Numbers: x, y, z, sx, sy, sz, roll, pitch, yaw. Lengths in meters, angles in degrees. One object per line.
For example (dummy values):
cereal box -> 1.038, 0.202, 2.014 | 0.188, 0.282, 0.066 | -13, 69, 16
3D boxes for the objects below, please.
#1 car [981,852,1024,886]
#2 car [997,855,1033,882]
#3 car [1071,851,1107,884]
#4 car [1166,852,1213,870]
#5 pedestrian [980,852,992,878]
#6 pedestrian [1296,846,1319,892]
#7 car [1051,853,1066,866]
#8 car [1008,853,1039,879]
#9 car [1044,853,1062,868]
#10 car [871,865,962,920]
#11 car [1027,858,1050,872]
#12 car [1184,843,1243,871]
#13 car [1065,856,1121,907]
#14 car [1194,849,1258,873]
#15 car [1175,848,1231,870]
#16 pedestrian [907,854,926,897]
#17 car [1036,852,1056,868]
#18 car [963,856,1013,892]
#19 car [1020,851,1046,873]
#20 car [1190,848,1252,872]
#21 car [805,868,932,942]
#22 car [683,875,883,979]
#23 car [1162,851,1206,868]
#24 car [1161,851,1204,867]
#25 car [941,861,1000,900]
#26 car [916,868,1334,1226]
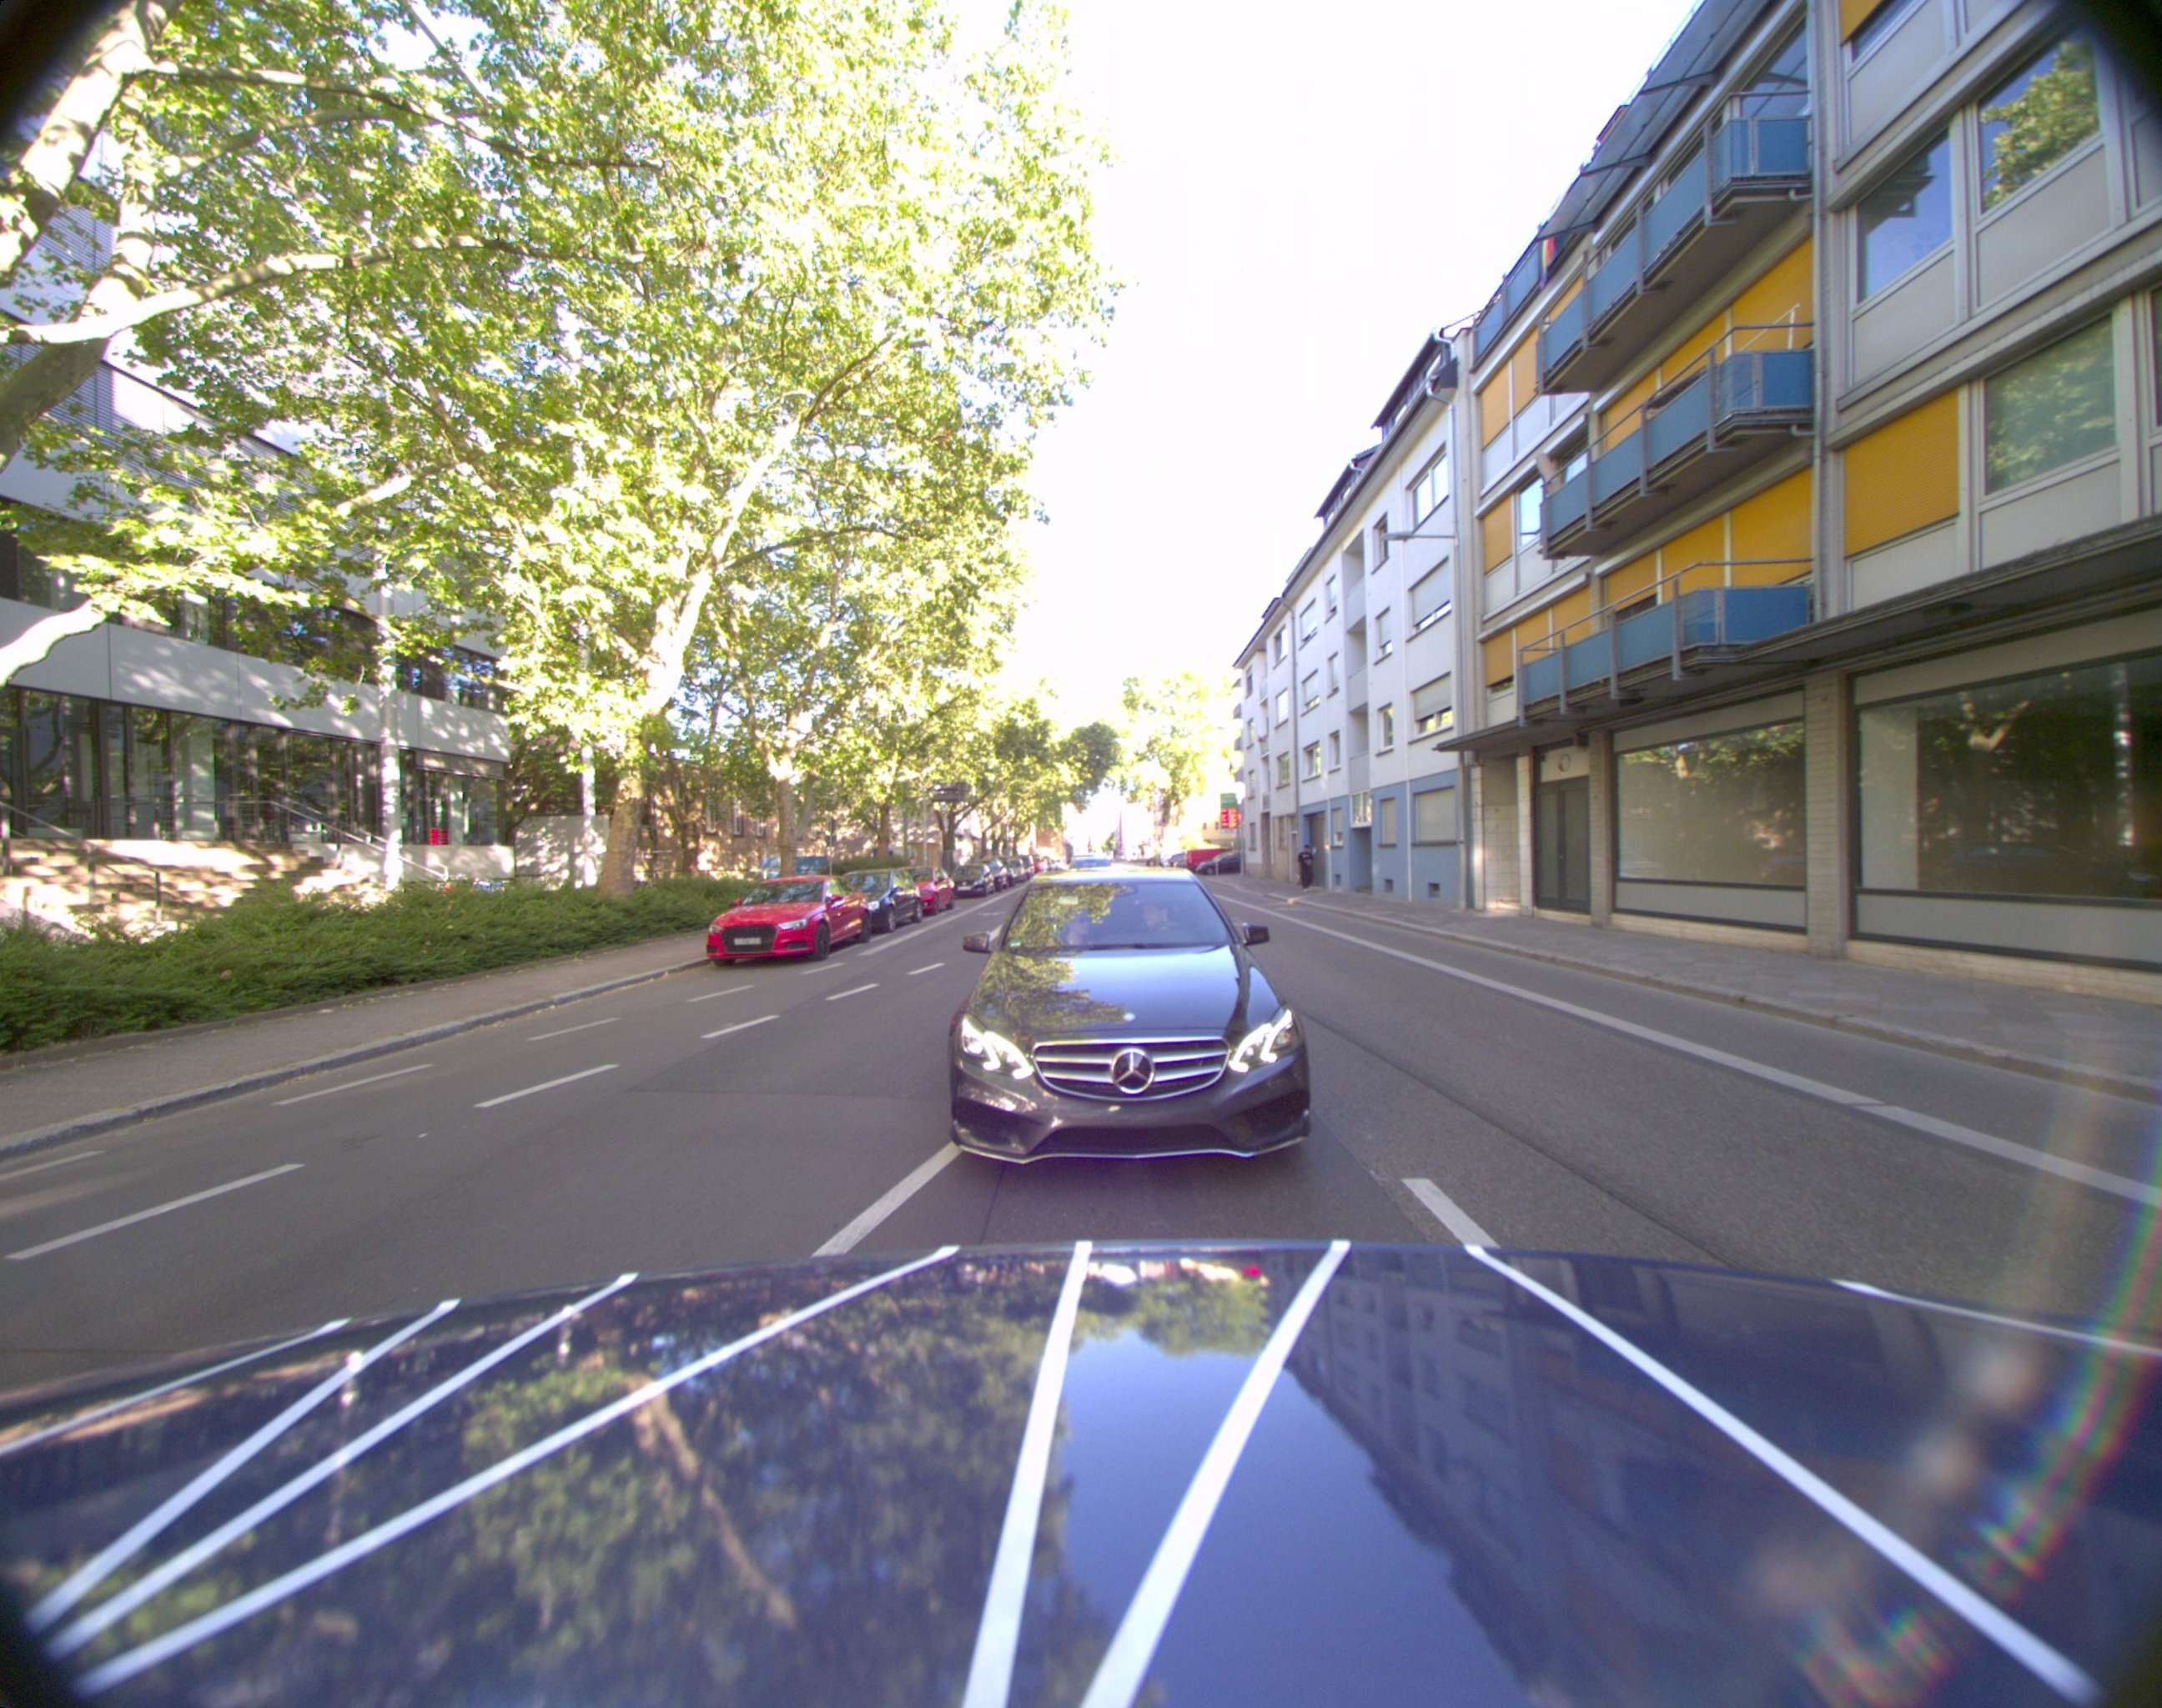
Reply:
car -> -4.504, 0.819, 44.124 | 1.835, 1.787, 4.463 | -2, 0, 1
car -> -4.332, 0.944, 50.617 | 1.835, 1.604, 4.259 | -2, 0, 1
car -> 0.481, 0.717, 43.327 | 1.908, 1.678, 4.813 | -2, 0, 1
car -> 10.440, 0.668, 73.201 | 4.255, 1.461, 1.653 | -4, 0, 1
pedestrian -> -6.752, 0.795, 53.975 | 0.660, 1.849, 0.641 | -2, 1, 1
pedestrian -> 8.428, 0.537, 28.309 | 0.612, 1.685, 0.655 | -2, 1, 1
car -> -3.037, 0.681, 102.959 | 1.835, 1.667, 4.259 | -2, 0, 1
car -> -4.173, 0.809, 55.649 | 1.835, 1.750, 4.259 | -2, 0, 1
car -> -3.402, 0.783, 92.852 | 1.835, 1.667, 4.259 | -2, 0, 1
car -> -5.038, 1.132, 23.850 | 1.835, 1.459, 4.168 | -2, 0, 1
car -> -3.983, 1.023, 71.797 | 1.835, 1.220, 4.259 | -2, 0, 1
car -> 10.422, 0.217, 60.138 | 4.255, 1.907, 1.818 | -4, 0, 0
car -> 0.413, 0.868, 25.798 | 1.726, 1.530, 4.000 | -1, 0, 1
car -> 10.406, 0.513, 54.756 | 4.255, 1.392, 1.653 | -4, 0, 1
car -> 10.059, 0.402, 62.720 | 4.255, 1.461, 1.653 | -4, 0, 1
pedestrian -> -6.901, 0.891, 31.880 | 0.601, 1.785, 0.593 | -2, 1, 0
car -> -3.930, 0.664, 86.236 | 1.835, 1.667, 4.259 | -2, 0, 1
car -> -4.591, 0.962, 38.084 | 1.835, 1.596, 4.161 | -2, 0, 1
car -> -4.138, 0.678, 66.357 | 1.835, 1.839, 4.259 | -2, 0, 1
car -> 10.490, 0.449, 57.058 | 4.255, 1.461, 1.653 | -4, 0, 1
car -> -5.036, 1.148, 18.640 | 1.835, 1.438, 4.168 | -2, 0, 1
car -> -5.126, 1.175, 13.780 | 1.835, 1.396, 4.247 | -2, 0, 1
car -> 10.611, 0.535, 78.659 | 4.255, 1.461, 1.653 | -4, 0, 1
car -> 10.782, 0.509, 80.624 | 4.255, 1.461, 1.653 | -4, 0, 1
car -> -4.740, 1.101, 33.187 | 1.835, 1.459, 4.168 | -2, 0, 1
car -> 0.228, 0.914, 5.581 | 1.849, 1.490, 4.302 | -1, 0, 1
